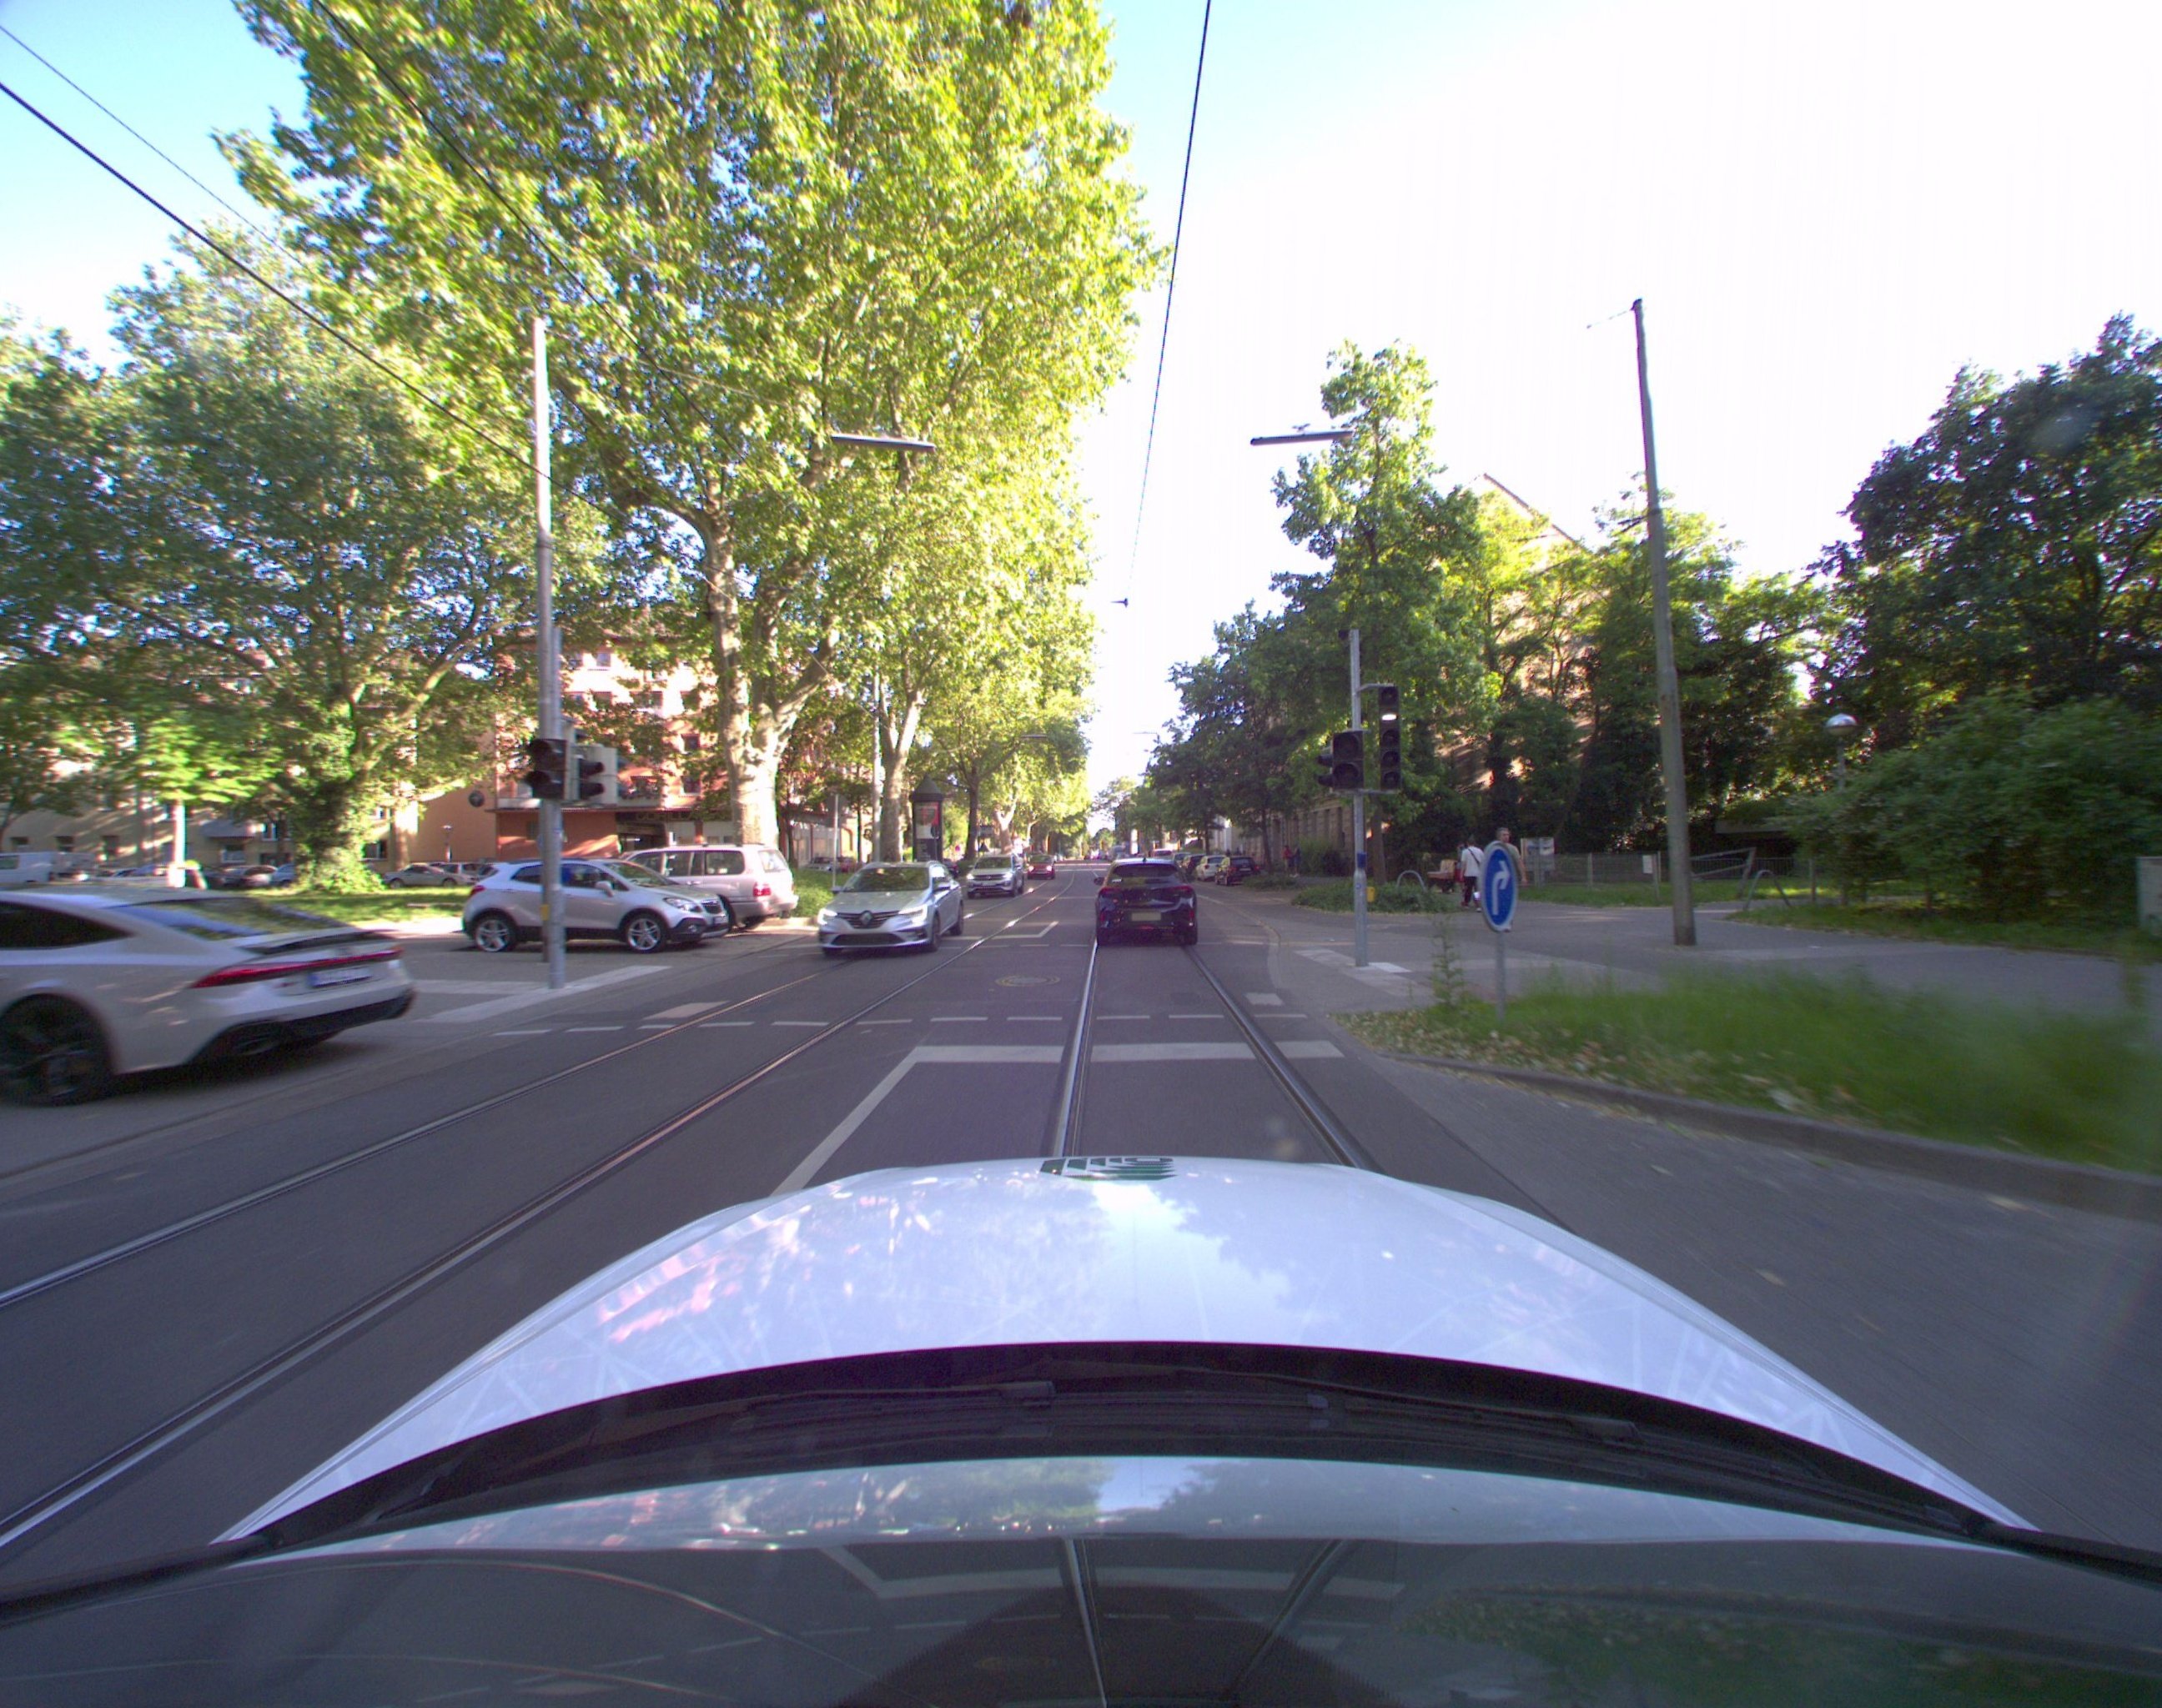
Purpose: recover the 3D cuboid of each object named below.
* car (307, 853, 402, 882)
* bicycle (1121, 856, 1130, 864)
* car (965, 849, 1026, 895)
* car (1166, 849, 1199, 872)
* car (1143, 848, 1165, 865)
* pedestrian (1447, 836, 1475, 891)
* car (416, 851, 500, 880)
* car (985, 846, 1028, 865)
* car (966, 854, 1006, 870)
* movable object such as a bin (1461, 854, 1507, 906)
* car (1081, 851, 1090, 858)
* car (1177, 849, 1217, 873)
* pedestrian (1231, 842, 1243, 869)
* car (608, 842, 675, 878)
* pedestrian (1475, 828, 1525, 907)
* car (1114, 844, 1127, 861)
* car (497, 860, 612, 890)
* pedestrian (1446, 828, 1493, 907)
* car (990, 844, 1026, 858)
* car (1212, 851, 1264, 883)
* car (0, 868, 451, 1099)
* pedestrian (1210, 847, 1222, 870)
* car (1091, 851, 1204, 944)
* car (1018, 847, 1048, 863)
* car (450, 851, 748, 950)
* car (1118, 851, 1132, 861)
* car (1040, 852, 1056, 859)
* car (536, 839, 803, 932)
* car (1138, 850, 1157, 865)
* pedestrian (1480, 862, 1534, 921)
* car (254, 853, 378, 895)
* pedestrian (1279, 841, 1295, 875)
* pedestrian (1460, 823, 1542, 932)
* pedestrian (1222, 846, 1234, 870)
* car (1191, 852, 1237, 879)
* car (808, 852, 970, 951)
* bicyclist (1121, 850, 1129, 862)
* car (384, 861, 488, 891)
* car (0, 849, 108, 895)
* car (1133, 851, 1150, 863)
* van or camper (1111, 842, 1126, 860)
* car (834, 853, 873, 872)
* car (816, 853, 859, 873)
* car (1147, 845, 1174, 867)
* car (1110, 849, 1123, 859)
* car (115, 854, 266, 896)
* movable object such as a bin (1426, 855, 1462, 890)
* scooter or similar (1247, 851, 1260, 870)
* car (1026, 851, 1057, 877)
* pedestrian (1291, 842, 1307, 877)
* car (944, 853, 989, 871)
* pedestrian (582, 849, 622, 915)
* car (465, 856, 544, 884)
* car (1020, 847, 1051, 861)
[{"bbox_3d":[-42.508,0.745,47.801,1.943,1.618,4.472,0,0,-7],"label":"car"},{"bbox_3d":[5.437,0.728,100.100,0.965,0.999,2.581,0,0,-1],"label":"bicycle"},{"bbox_3d":[-3.153,0.634,30.727,1.810,1.568,4.116,-2,0,0],"label":"car"},{"bbox_3d":[7.489,0.449,60.539,1.878,1.568,4.241,-3,0,0],"label":"car"},{"bbox_3d":[7.639,0.264,85.281,1.880,1.766,4.677,-1,0,0],"label":"car"},{"bbox_3d":[12.065,0.309,25.865,0.619,1.725,0.551,0,0,-16],"label":"pedestrian"},{"bbox_3d":[-36.871,0.645,48.380,1.943,1.618,4.472,0,0,-7],"label":"car"},{"bbox_3d":[-8.785,0.149,96.685,5.022,2.259,2.083,0,0,-4],"label":"car"},{"bbox_3d":[-8.667,0.705,74.371,3.407,1.465,1.760,0,0,2],"label":"car"},{"bbox_3d":[9.870,0.628,19.996,0.635,1.202,1.309,-3,0,11],"label":"movable object such as a bin"},{"bbox_3d":[1.341,0.205,232.209,2.248,1.840,5.528,-2,0,-1],"label":"car"},{"bbox_3d":[7.887,0.458,55.785,1.879,1.467,4.590,-3,0,-2],"label":"car"},{"bbox_3d":[10.299,0.088,53.690,0.722,1.793,0.601,0,0,5],"label":"pedestrian"},{"bbox_3d":[-26.104,0.334,48.561,1.993,2.003,4.905,0,0,-9],"label":"car"},{"bbox_3d":[9.852,0.309,19.166,0.721,1.793,0.971,-3,0,10],"label":"pedestrian"},{"bbox_3d":[6.910,-0.299,143.315,2.078,2.772,4.697,-2,0,0],"label":"car"},{"bbox_3d":[-26.408,1.025,40.986,4.466,1.450,1.819,0,0,-9],"label":"car"},{"bbox_3d":[9.076,0.310,19.055,0.721,1.793,0.856,-3,0,10],"label":"pedestrian"},{"bbox_3d":[-8.899,-0.357,99.912,4.289,1.607,1.924,0,0,-3],"label":"car"},{"bbox_3d":[7.627,0.616,39.918,1.668,1.412,3.840,-3,0,-2],"label":"car"},{"bbox_3d":[-7.979,0.853,6.159,4.755,1.460,1.952,0,0,-5],"label":"car"},{"bbox_3d":[9.656,0.315,58.251,0.723,1.693,0.958,0,0,4],"label":"pedestrian"},{"bbox_3d":[1.071,0.692,14.857,1.757,1.460,3.950,0,0,0],"label":"car"},{"bbox_3d":[-8.387,0.206,142.525,5.020,2.374,2.081,-4,0,0],"label":"car"},{"bbox_3d":[-8.404,0.771,14.513,4.128,1.646,1.901,0,0,-2],"label":"car"},{"bbox_3d":[6.830,0.326,125.934,1.878,1.434,4.529,-3,0,0],"label":"car"},{"bbox_3d":[-8.905,0.453,218.060,3.967,2.013,2.003,0,0,6],"label":"car"},{"bbox_3d":[-8.422,0.619,17.016,4.558,1.834,1.937,0,0,-2],"label":"car"},{"bbox_3d":[7.408,0.388,91.229,1.707,1.514,4.034,-3,0,-1],"label":"car"},{"bbox_3d":[8.343,0.722,15.959,0.676,1.118,0.655,0,0,-19],"label":"pedestrian"},{"bbox_3d":[-37.684,0.944,40.212,3.985,2.013,1.994,0,0,-9],"label":"car"},{"bbox_3d":[10.917,0.213,43.233,0.723,1.793,0.600,0,0,0],"label":"pedestrian"},{"bbox_3d":[7.599,0.408,14.760,0.869,1.885,0.992,0,0,-18],"label":"pedestrian"},{"bbox_3d":[10.498,0.292,58.316,0.723,1.709,0.856,0,0,2],"label":"pedestrian"},{"bbox_3d":[7.556,0.620,46.576,1.878,1.368,4.106,-3,0,0],"label":"car"},{"bbox_3d":[-3.132,0.710,14.189,1.769,1.461,4.204,0,0,1],"label":"car"},{"bbox_3d":[5.430,0.253,100.088,0.955,1.499,1.093,0,0,-2],"label":"bicyclist"},{"bbox_3d":[-32.063,1.067,40.563,3.702,1.450,1.685,0,0,-6],"label":"car"},{"bbox_3d":[-51.288,0.844,39.791,4.720,2.197,2.041,0,0,-4],"label":"car"},{"bbox_3d":[7.452,0.365,99.922,1.697,1.423,3.977,-4,0,0],"label":"car"},{"bbox_3d":[6.879,-0.567,149.879,2.247,3.216,5.530,-2,0,0],"label":"van or camper"},{"bbox_3d":[-18.028,0.655,64.633,1.941,1.487,4.000,0,0,0],"label":"car"},{"bbox_3d":[-17.947,0.650,60.230,1.941,1.407,3.892,0,0,0],"label":"car"},{"bbox_3d":[7.381,0.199,76.169,1.878,1.851,4.966,-3,0,0],"label":"car"},{"bbox_3d":[6.792,0.058,157.073,2.247,1.840,5.530,-2,0,0],"label":"car"},{"bbox_3d":[-43.415,0.988,39.805,4.728,2.013,1.994,0,0,-9],"label":"car"},{"bbox_3d":[11.819,0.598,26.530,0.665,1.126,0.954,0,0,-8],"label":"movable object such as a bin"},{"bbox_3d":[11.173,0.402,52.710,0.573,1.246,1.335,0,0,1],"label":"scooter or similar"},{"bbox_3d":[-2.405,0.594,50.309,1.655,1.444,3.473,-2,0,1],"label":"car"},{"bbox_3d":[11.332,0.284,42.404,0.597,1.793,0.727,0,0,-3],"label":"pedestrian"},{"bbox_3d":[-9.362,0.682,66.890,3.407,1.465,1.698,0,0,2],"label":"car"},{"bbox_3d":[-13.334,0.759,22.683,0.640,1.809,0.753,0,0,5],"label":"pedestrian"},{"bbox_3d":[-34.372,0.912,48.736,1.943,1.618,4.472,0,0,-7],"label":"car"},{"bbox_3d":[-8.629,-0.020,155.237,5.614,2.593,2.198,0,0,3],"label":"car"}]
